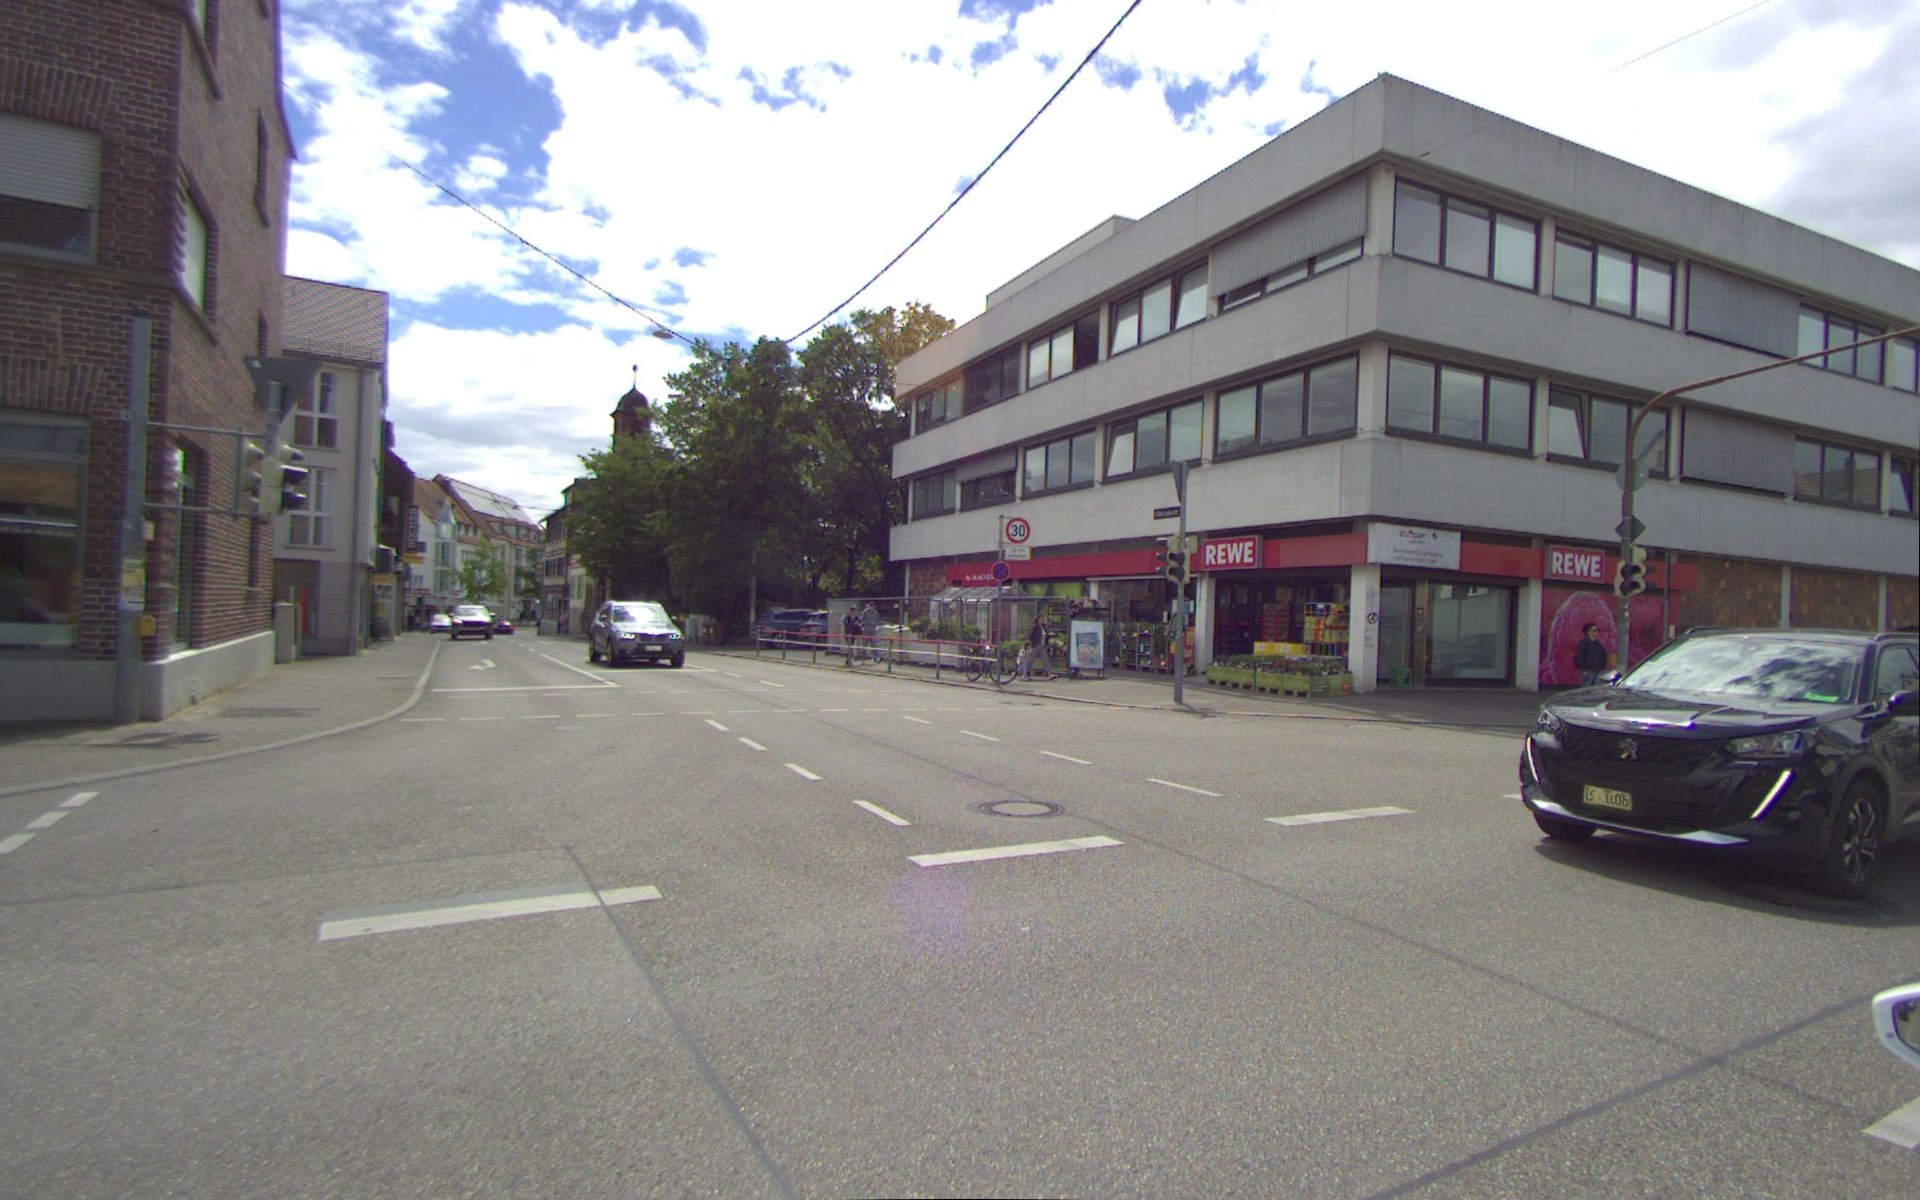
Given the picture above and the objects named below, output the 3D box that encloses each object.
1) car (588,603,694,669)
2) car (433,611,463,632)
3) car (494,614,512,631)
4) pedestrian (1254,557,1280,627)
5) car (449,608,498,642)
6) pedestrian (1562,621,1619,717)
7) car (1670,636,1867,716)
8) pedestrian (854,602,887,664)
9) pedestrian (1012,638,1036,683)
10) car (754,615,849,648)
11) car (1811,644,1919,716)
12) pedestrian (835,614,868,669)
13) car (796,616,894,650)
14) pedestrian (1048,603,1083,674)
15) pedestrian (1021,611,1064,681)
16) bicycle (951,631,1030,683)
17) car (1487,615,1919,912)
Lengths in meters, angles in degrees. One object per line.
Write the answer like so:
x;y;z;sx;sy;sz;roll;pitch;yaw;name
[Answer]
-8.472;0.921;26.462;1.898;1.595;3.969;2;-1;-29;car
-41.007;1.679;80.399;1.898;1.595;4.296;2;-1;-29;car
-43.081;2.129;94.709;1.468;1.499;3.177;2;-1;-26;car
8.023;-0.196;26.234;0.381;1.762;0.779;3;-1;31;pedestrian
-24.078;1.207;49.663;1.898;1.595;4.296;2;-1;-29;car
11.332;1.228;18.064;0.652;1.663;0.616;2;-1;-29;pedestrian
17.558;1.633;21.804;4.034;1.484;1.778;3;1;-27;car
-2.720;1.001;30.492;0.671;1.860;0.727;2;-1;-38;pedestrian
1.506;1.420;23.725;0.357;1.018;0.384;3;-1;34;pedestrian
-6.727;1.329;42.610;3.670;1.339;1.775;2;-1;-21;car
22.532;1.871;23.866;4.385;1.463;1.897;2;1;-26;car
-3.195;1.208;29.598;0.671;1.598;0.727;2;-1;-38;pedestrian
-4.695;1.345;41.018;3.670;1.338;1.775;2;-1;-21;car
2.738;0.999;26.037;0.612;1.799;0.554;3;-1;35;pedestrian
1.987;1.093;24.134;0.712;1.618;0.695;3;-1;33;pedestrian
0.684;1.308;23.249;0.770;1.157;1.866;3;-3;-39;bicycle
5.607;0.924;6.926;3.921;1.516;1.675;2;-1;-30;car
